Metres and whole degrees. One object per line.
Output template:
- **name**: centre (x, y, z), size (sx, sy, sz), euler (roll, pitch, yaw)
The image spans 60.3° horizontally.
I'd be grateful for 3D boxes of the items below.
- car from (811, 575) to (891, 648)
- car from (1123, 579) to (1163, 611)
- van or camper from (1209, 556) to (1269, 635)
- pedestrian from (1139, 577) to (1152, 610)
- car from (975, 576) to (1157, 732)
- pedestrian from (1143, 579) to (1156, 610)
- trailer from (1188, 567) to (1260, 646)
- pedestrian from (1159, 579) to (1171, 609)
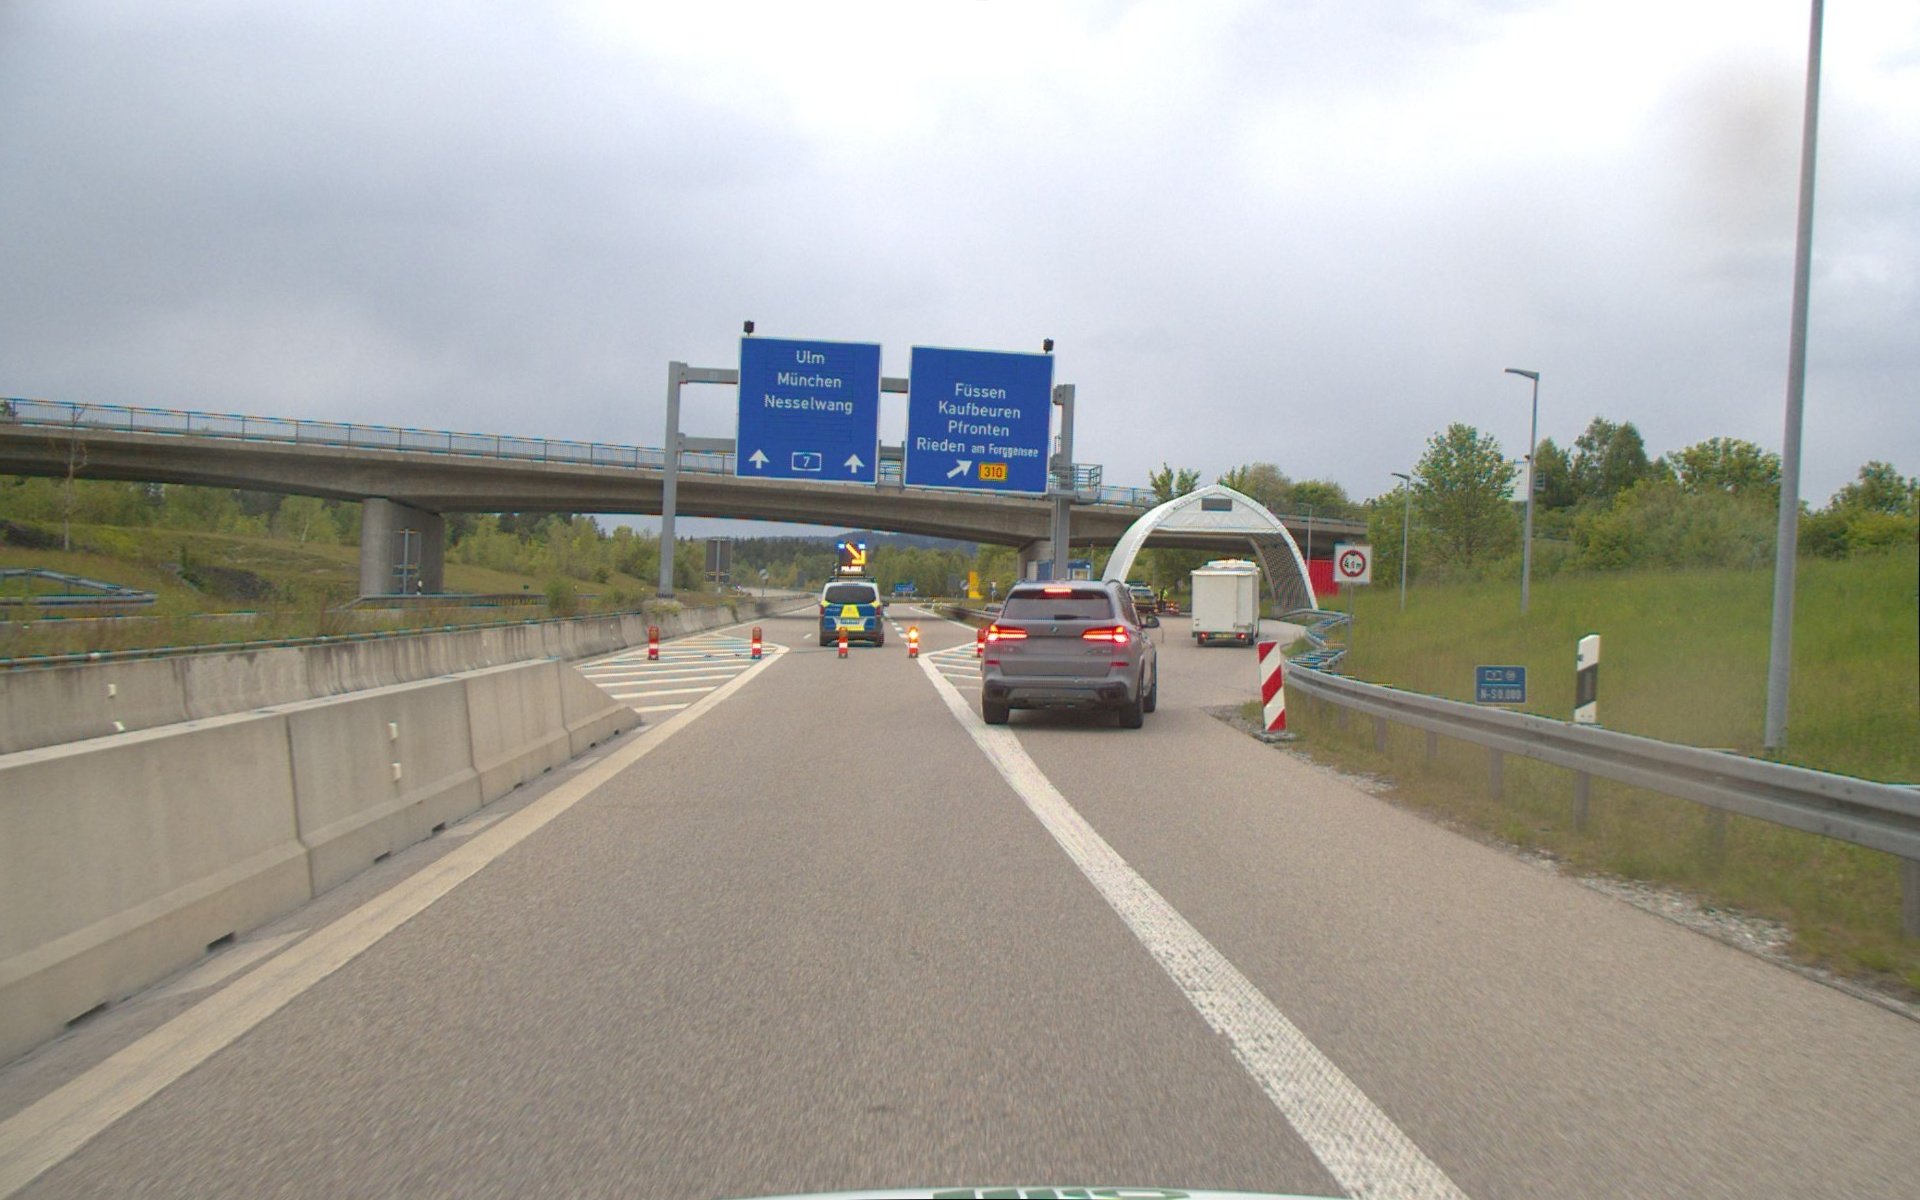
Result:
- **car**: centre (-3.320, 0.291, 50.063), size (2.241, 2.049, 5.045), euler (1, 1, -4)
- **car**: centre (10.646, -0.304, 96.505), size (1.952, 1.803, 3.766), euler (0, 0, 1)
- **van or camper**: centre (10.479, -0.137, 62.060), size (2.111, 2.812, 5.876), euler (1, 0, 10)
- **pedestrian**: centre (11.211, -0.416, 99.799), size (0.705, 1.979, 0.690), euler (0, 0, 1)
- **car**: centre (1.446, 0.616, 20.984), size (1.951, 1.749, 4.003), euler (1, 0, 8)
- **pedestrian**: centre (11.333, -0.322, 98.935), size (0.705, 1.806, 0.690), euler (0, 0, 1)
- **trailer**: centre (8.963, 0.237, 55.791), size (2.230, 2.473, 6.823), euler (1, 0, 10)
- **pedestrian**: centre (12.371, -0.336, 99.894), size (0.635, 1.806, 0.606), euler (0, 0, -1)
